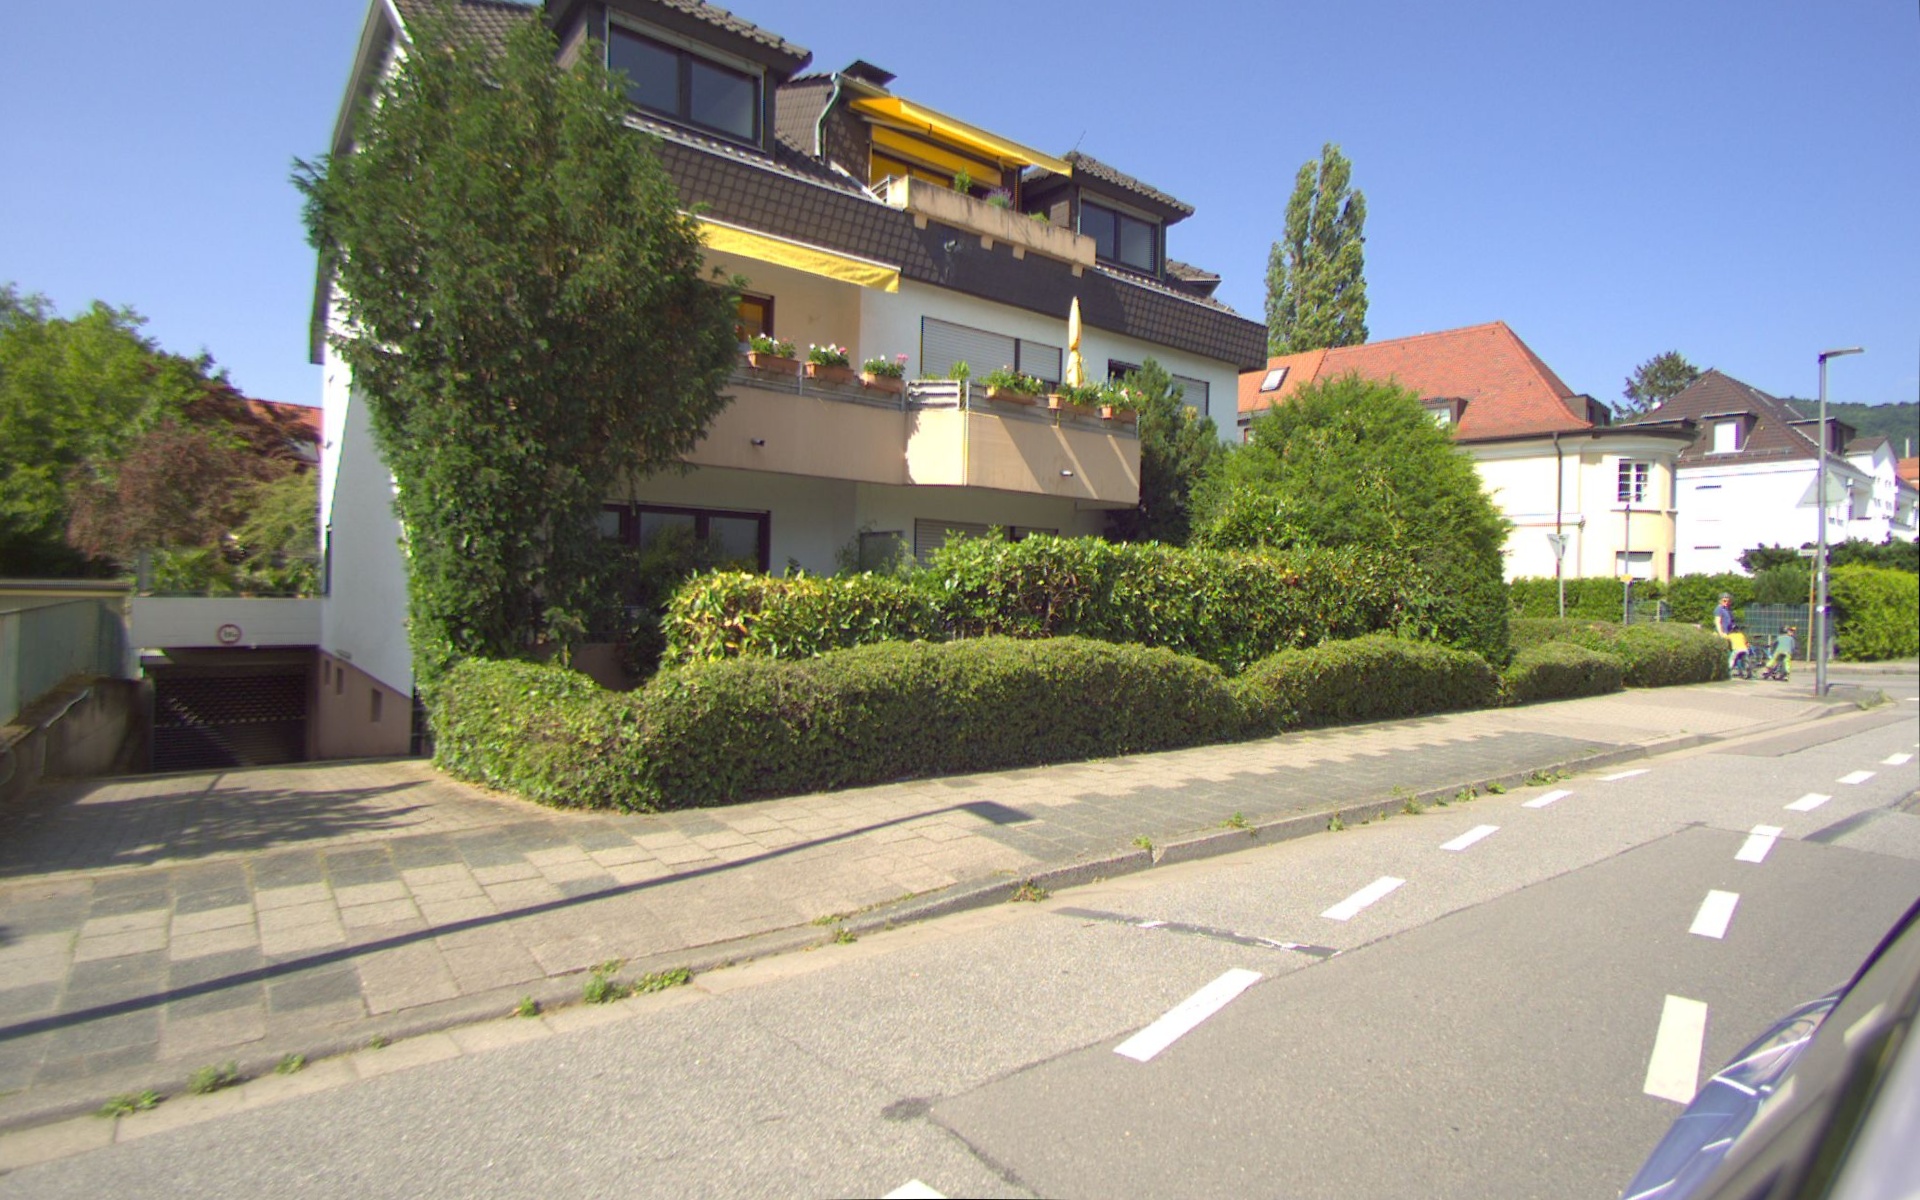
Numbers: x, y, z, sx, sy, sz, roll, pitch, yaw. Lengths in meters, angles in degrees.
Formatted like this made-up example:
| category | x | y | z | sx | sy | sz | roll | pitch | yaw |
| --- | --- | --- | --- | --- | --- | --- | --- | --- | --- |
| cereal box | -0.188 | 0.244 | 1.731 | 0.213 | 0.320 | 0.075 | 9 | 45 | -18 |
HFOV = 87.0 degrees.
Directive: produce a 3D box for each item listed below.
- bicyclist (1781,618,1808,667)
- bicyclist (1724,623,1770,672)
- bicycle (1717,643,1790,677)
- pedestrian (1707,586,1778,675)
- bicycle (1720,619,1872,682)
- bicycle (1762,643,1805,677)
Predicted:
| category | x | y | z | sx | sy | sz | roll | pitch | yaw |
| --- | --- | --- | --- | --- | --- | --- | --- | --- | --- |
| bicyclist | 16.796 | 0.840 | 20.374 | 0.400 | 0.941 | 0.649 | 1 | 0 | 38 |
| bicyclist | 15.835 | 0.953 | 20.364 | 0.391 | 0.945 | 0.610 | 0 | 0 | -13 |
| bicycle | 15.907 | 1.195 | 20.307 | 0.394 | 0.607 | 1.153 | 1 | 1 | -13 |
| pedestrian | 17.202 | 0.643 | 22.278 | 0.890 | 1.896 | 1.181 | 1 | 0 | 20 |
| bicycle | 17.794 | 1.036 | 21.668 | 0.846 | 1.173 | 2.714 | 0 | 0 | -5 |
| bicycle | 16.711 | 1.208 | 20.545 | 0.398 | 0.607 | 1.163 | 1 | 1 | 26 |
